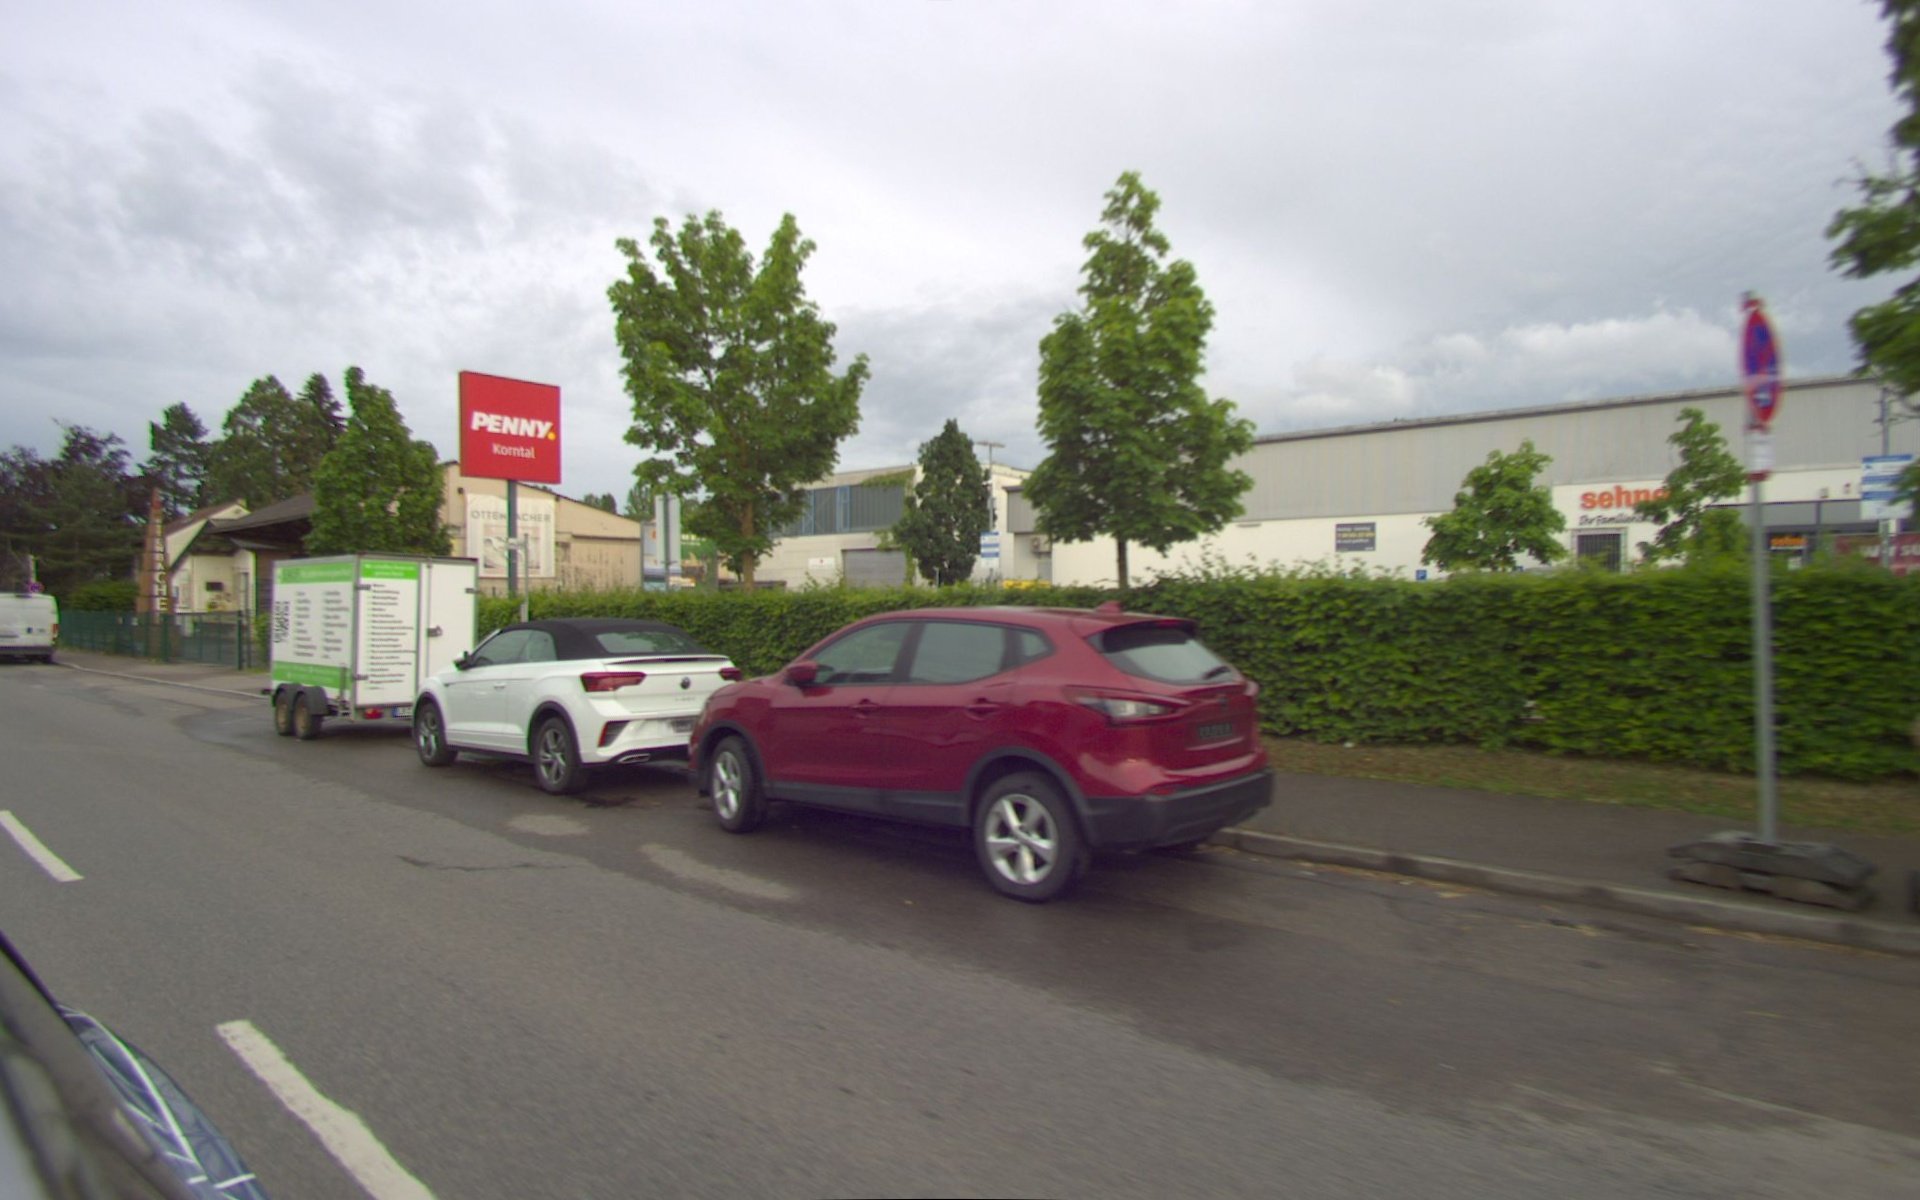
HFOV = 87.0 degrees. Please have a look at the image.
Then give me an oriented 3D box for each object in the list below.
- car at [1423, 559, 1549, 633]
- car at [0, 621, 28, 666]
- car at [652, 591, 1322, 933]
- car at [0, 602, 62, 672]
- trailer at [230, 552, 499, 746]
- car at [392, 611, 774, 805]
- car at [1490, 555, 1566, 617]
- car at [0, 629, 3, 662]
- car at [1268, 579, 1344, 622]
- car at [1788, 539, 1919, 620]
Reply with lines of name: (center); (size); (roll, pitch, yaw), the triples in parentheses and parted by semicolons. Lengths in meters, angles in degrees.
car: (11.126, -0.111, 21.277); (1.800, 1.397, 3.942); (-1, 1, 36)
car: (-39.972, 1.738, 41.692); (4.444, 1.782, 1.751); (-1, -4, 41)
car: (-0.061, 0.803, 6.808); (4.339, 1.585, 1.787); (-2, -1, 40)
car: (-35.640, 1.356, 37.860); (6.456, 2.445, 2.135); (-1, -3, 41)
trailer: (-8.563, 0.664, 14.380); (4.726, 2.332, 1.794); (-2, -3, 40)
car: (-3.878, 0.927, 10.073); (4.133, 1.510, 1.754); (-2, -1, 40)
car: (15.207, -0.360, 27.016); (1.451, 1.507, 3.857); (-2, -1, 34)
car: (-44.885, 2.022, 45.845); (4.313, 1.459, 1.645); (-1, -2, 39)
car: (14.075, 0.006, 41.090); (1.659, 1.618, 3.687); (-1, 1, 41)
car: (19.639, -0.460, 22.246); (1.767, 1.618, 3.955); (-1, 1, 33)
